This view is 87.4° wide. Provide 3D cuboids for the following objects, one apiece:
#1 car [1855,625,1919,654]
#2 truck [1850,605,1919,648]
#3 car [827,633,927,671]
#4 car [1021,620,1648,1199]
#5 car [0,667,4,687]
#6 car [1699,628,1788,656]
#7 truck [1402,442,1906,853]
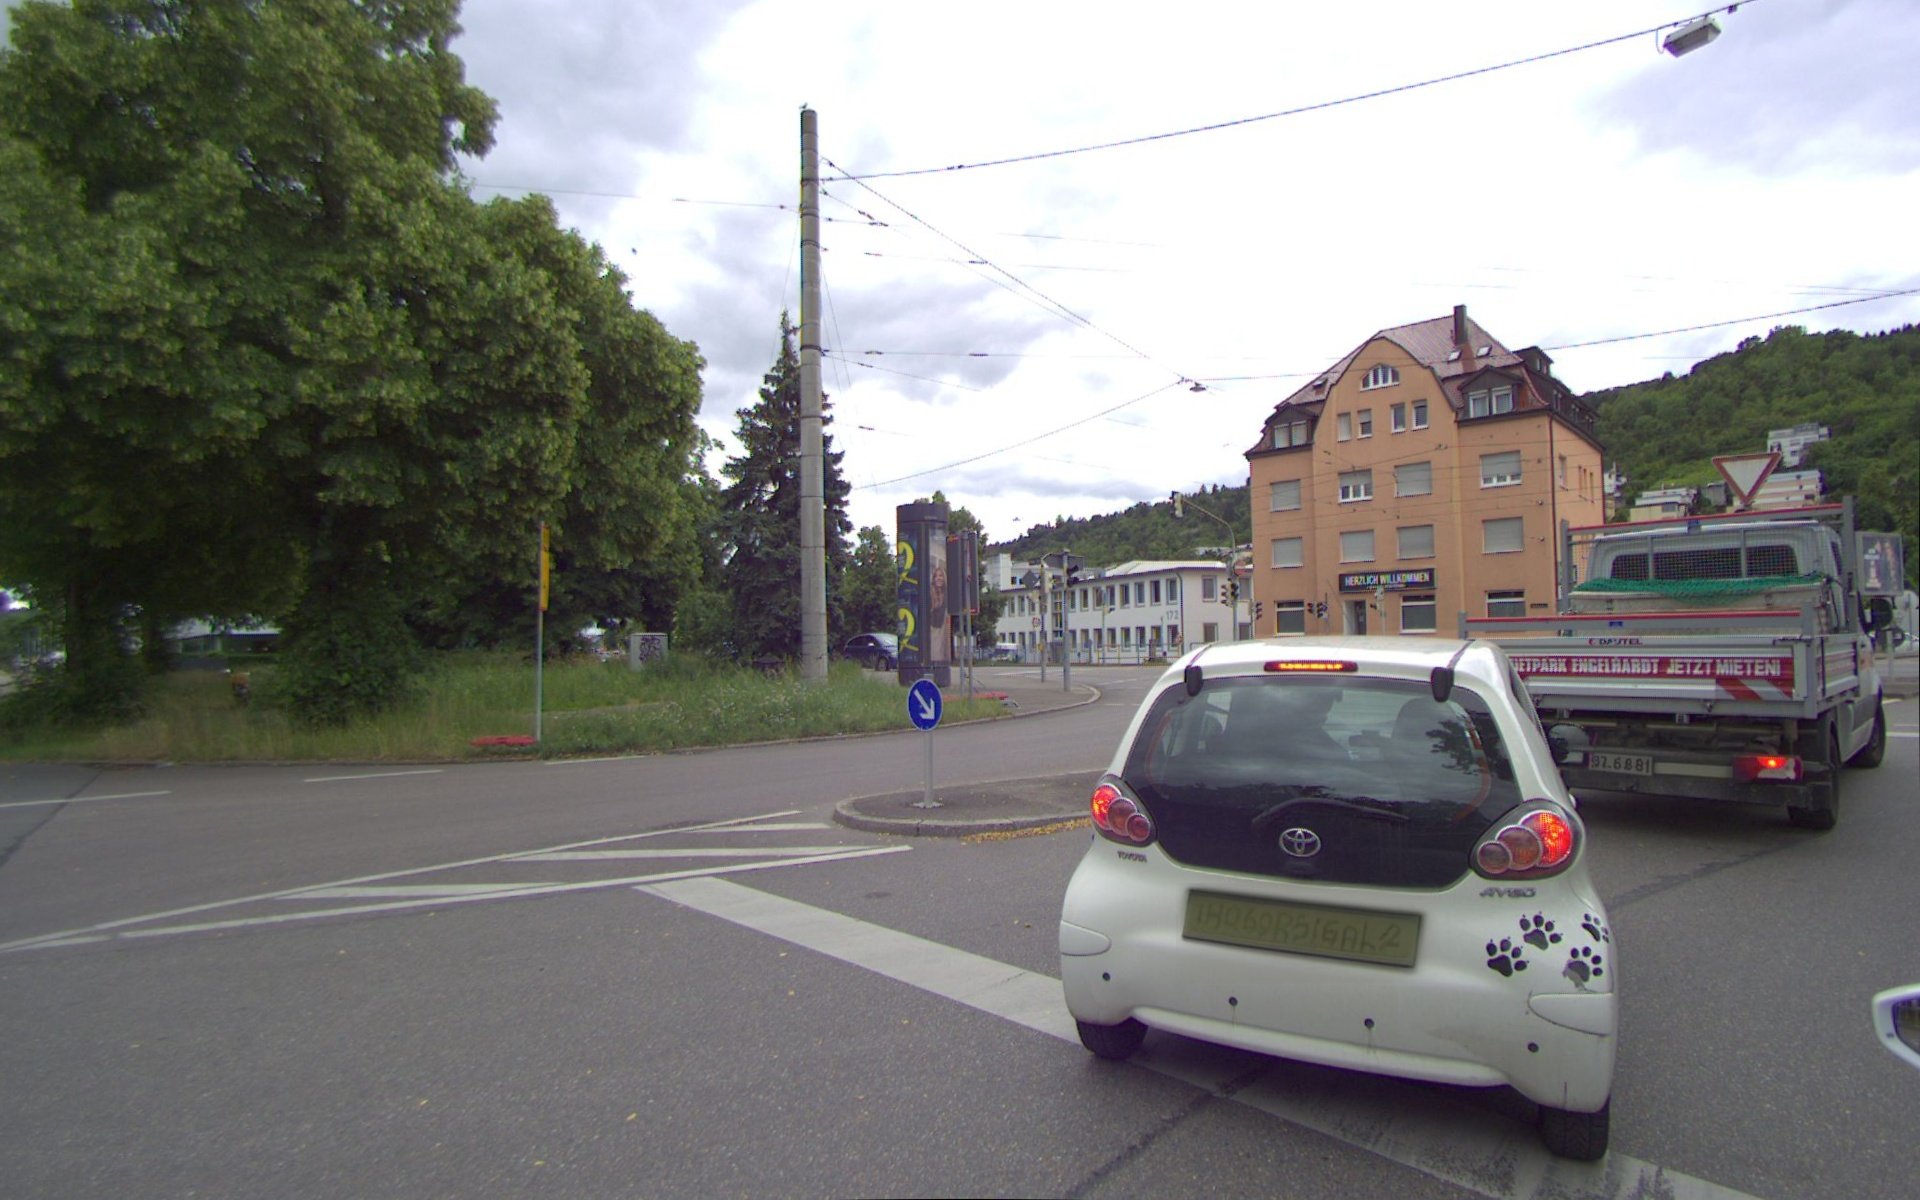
[{"bbox_3d":[52.929,2.209,56.157,1.764,1.553,4.162,1,-3,-44],"label":"car"},{"bbox_3d":[55.330,1.510,58.284,5.112,2.424,1.995,-3,-3,33],"label":"truck"},{"bbox_3d":[-3.393,2.103,40.387,1.790,1.385,4.422,0,-3,-40],"label":"car"},{"bbox_3d":[1.738,0.862,4.324,1.615,1.451,3.426,-3,-3,29],"label":"car"},{"bbox_3d":[-84.061,6.712,86.960,4.382,1.661,1.785,-4,-3,45],"label":"car"},{"bbox_3d":[47.675,2.578,61.181,4.153,1.553,1.768,-3,-3,39],"label":"car"},{"bbox_3d":[6.425,0.375,8.887,5.986,2.429,2.399,1,-4,-43],"label":"truck"}]
